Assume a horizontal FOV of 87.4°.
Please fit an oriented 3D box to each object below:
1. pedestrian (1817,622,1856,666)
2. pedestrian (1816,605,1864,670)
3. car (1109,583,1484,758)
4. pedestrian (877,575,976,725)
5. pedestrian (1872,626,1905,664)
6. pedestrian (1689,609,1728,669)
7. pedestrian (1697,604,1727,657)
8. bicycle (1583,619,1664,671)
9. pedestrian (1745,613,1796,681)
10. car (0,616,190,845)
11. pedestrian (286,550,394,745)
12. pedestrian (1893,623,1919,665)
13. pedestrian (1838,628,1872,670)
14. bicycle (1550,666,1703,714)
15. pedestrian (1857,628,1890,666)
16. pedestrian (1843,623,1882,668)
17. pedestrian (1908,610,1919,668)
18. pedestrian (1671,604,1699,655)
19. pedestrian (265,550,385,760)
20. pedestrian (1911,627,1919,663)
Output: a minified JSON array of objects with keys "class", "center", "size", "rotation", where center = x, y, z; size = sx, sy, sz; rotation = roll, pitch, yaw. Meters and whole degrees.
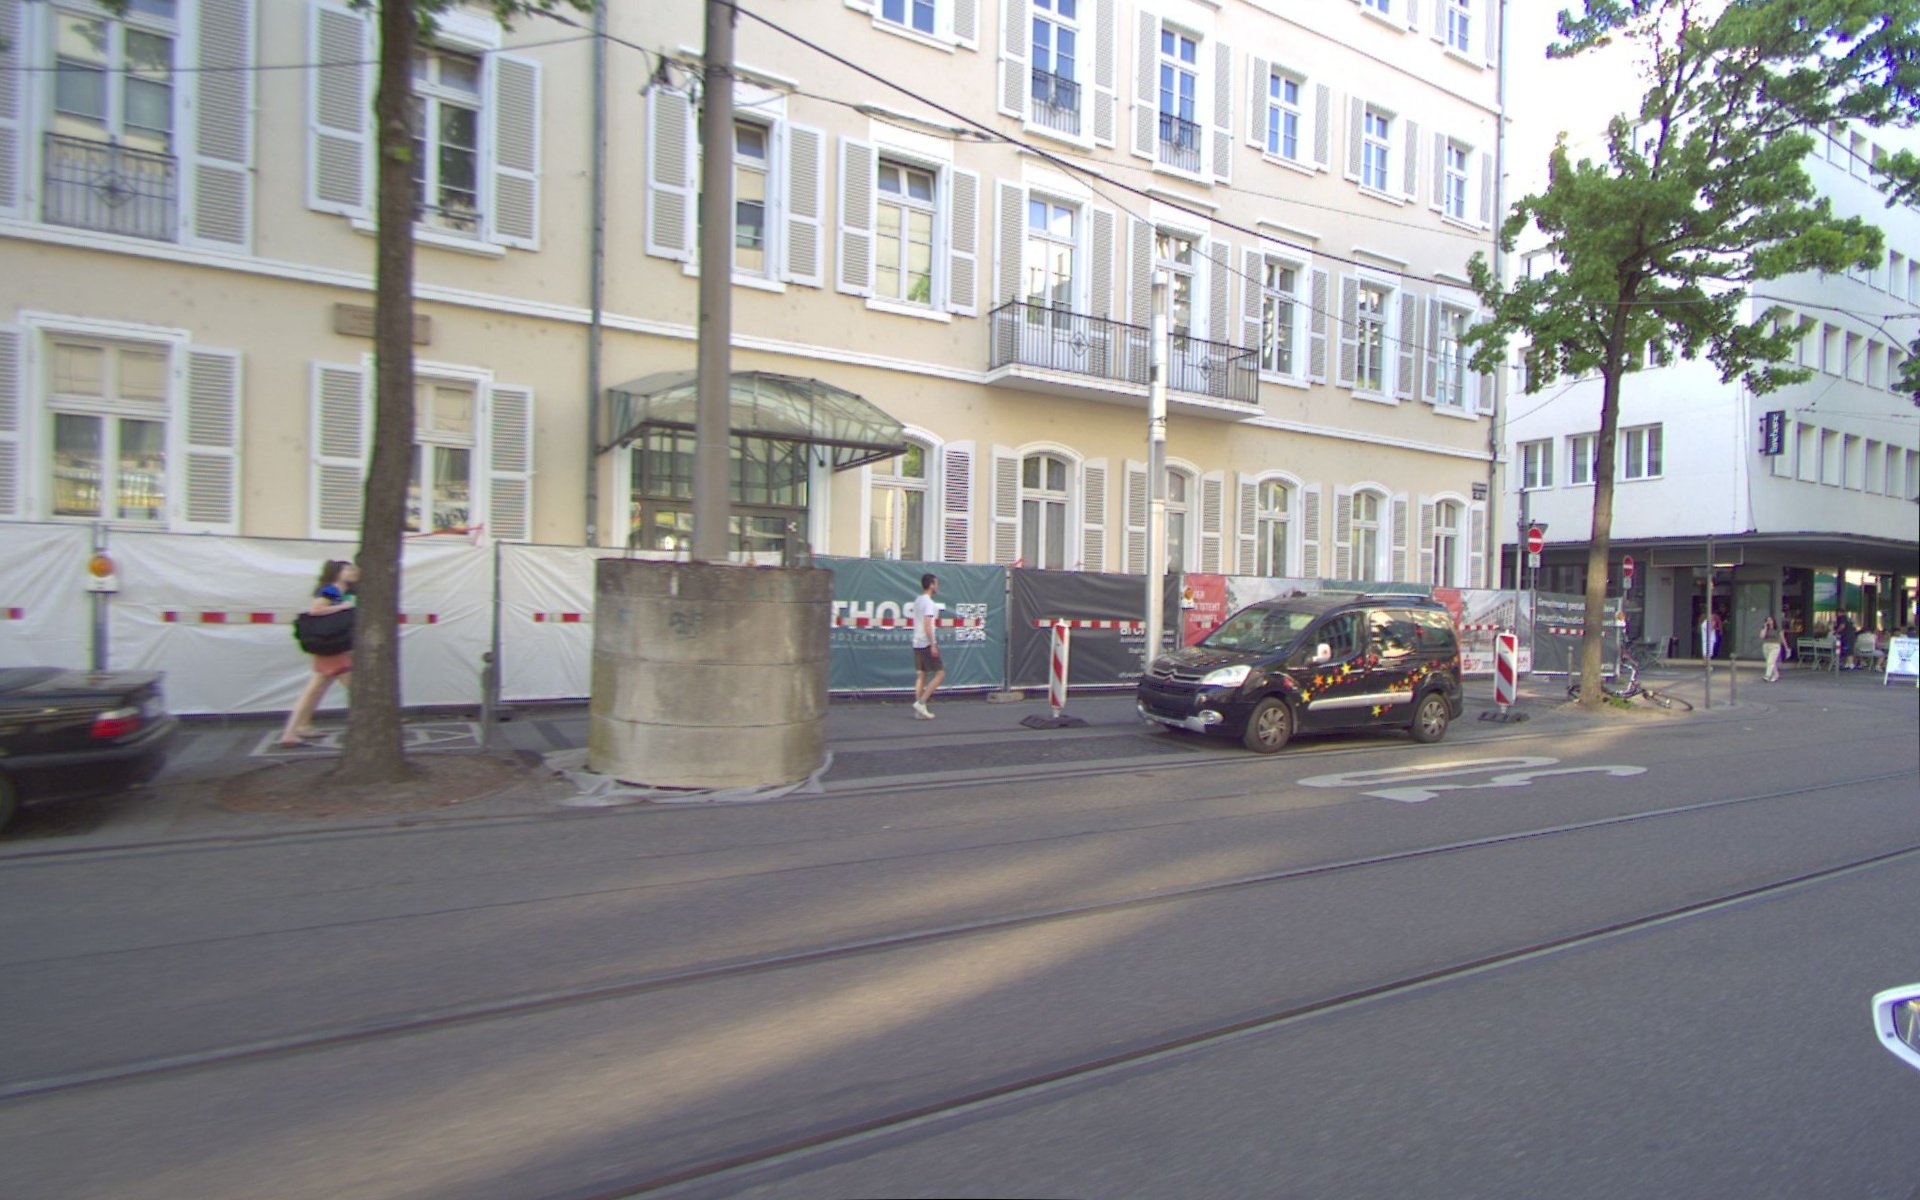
[{"class":"pedestrian","center":[26.828,1.339,30.749],"size":[0.730,1.286,0.642],"rotation":[1,2,-29]},{"class":"pedestrian","center":[25.496,1.077,29.113],"size":[0.751,1.840,0.685],"rotation":[1,2,-14]},{"class":"car","center":[4.251,0.774,12.537],"size":[4.502,1.857,1.850],"rotation":[1,1,-29]},{"class":"pedestrian","center":[-0.432,0.607,12.804],"size":[0.972,1.816,0.771],"rotation":[1,2,-28]},{"class":"pedestrian","center":[29.326,1.417,31.719],"size":[0.678,1.177,0.550],"rotation":[1,2,-29]},{"class":"pedestrian","center":[21.441,1.102,28.766],"size":[0.787,1.636,0.861],"rotation":[1,3,44]},{"class":"pedestrian","center":[23.673,0.957,31.630],"size":[0.608,1.625,0.405],"rotation":[1,0,4]},{"class":"bicycle","center":[19.165,1.269,29.051],"size":[0.703,1.399,1.867],"rotation":[-2,1,-27]},{"class":"pedestrian","center":[20.582,1.169,25.518],"size":[0.955,1.678,0.704],"rotation":[0,0,-28]},{"class":"car","center":[-7.501,0.766,5.943],"size":[4.455,1.262,1.709],"rotation":[1,2,-31]},{"class":"pedestrian","center":[-6.156,0.446,10.018],"size":[0.866,1.837,0.715],"rotation":[1,3,-30]},{"class":"pedestrian","center":[31.208,1.444,33.003],"size":[0.678,1.316,0.599],"rotation":[1,2,-29]},{"class":"pedestrian","center":[27.587,1.515,30.952],"size":[0.678,1.252,0.550],"rotation":[1,2,-29]},{"class":"bicycle","center":[11.335,1.510,17.146],"size":[1.265,0.617,1.789],"rotation":[1,1,-26]},{"class":"pedestrian","center":[29.126,1.487,32.033],"size":[0.678,1.177,0.550],"rotation":[1,2,-29]},{"class":"pedestrian","center":[27.079,1.359,30.134],"size":[0.719,1.299,0.624],"rotation":[1,2,-29]},{"class":"pedestrian","center":[29.985,1.202,31.086],"size":[0.688,1.780,0.675],"rotation":[1,2,-28]},{"class":"pedestrian","center":[23.658,0.963,32.778],"size":[0.608,1.625,0.405],"rotation":[1,0,4]},{"class":"pedestrian","center":[-5.801,0.468,9.228],"size":[0.874,1.806,0.861],"rotation":[1,3,-30]},{"class":"pedestrian","center":[31.918,1.481,33.147],"size":[0.678,1.177,0.550],"rotation":[1,2,-29]}]
